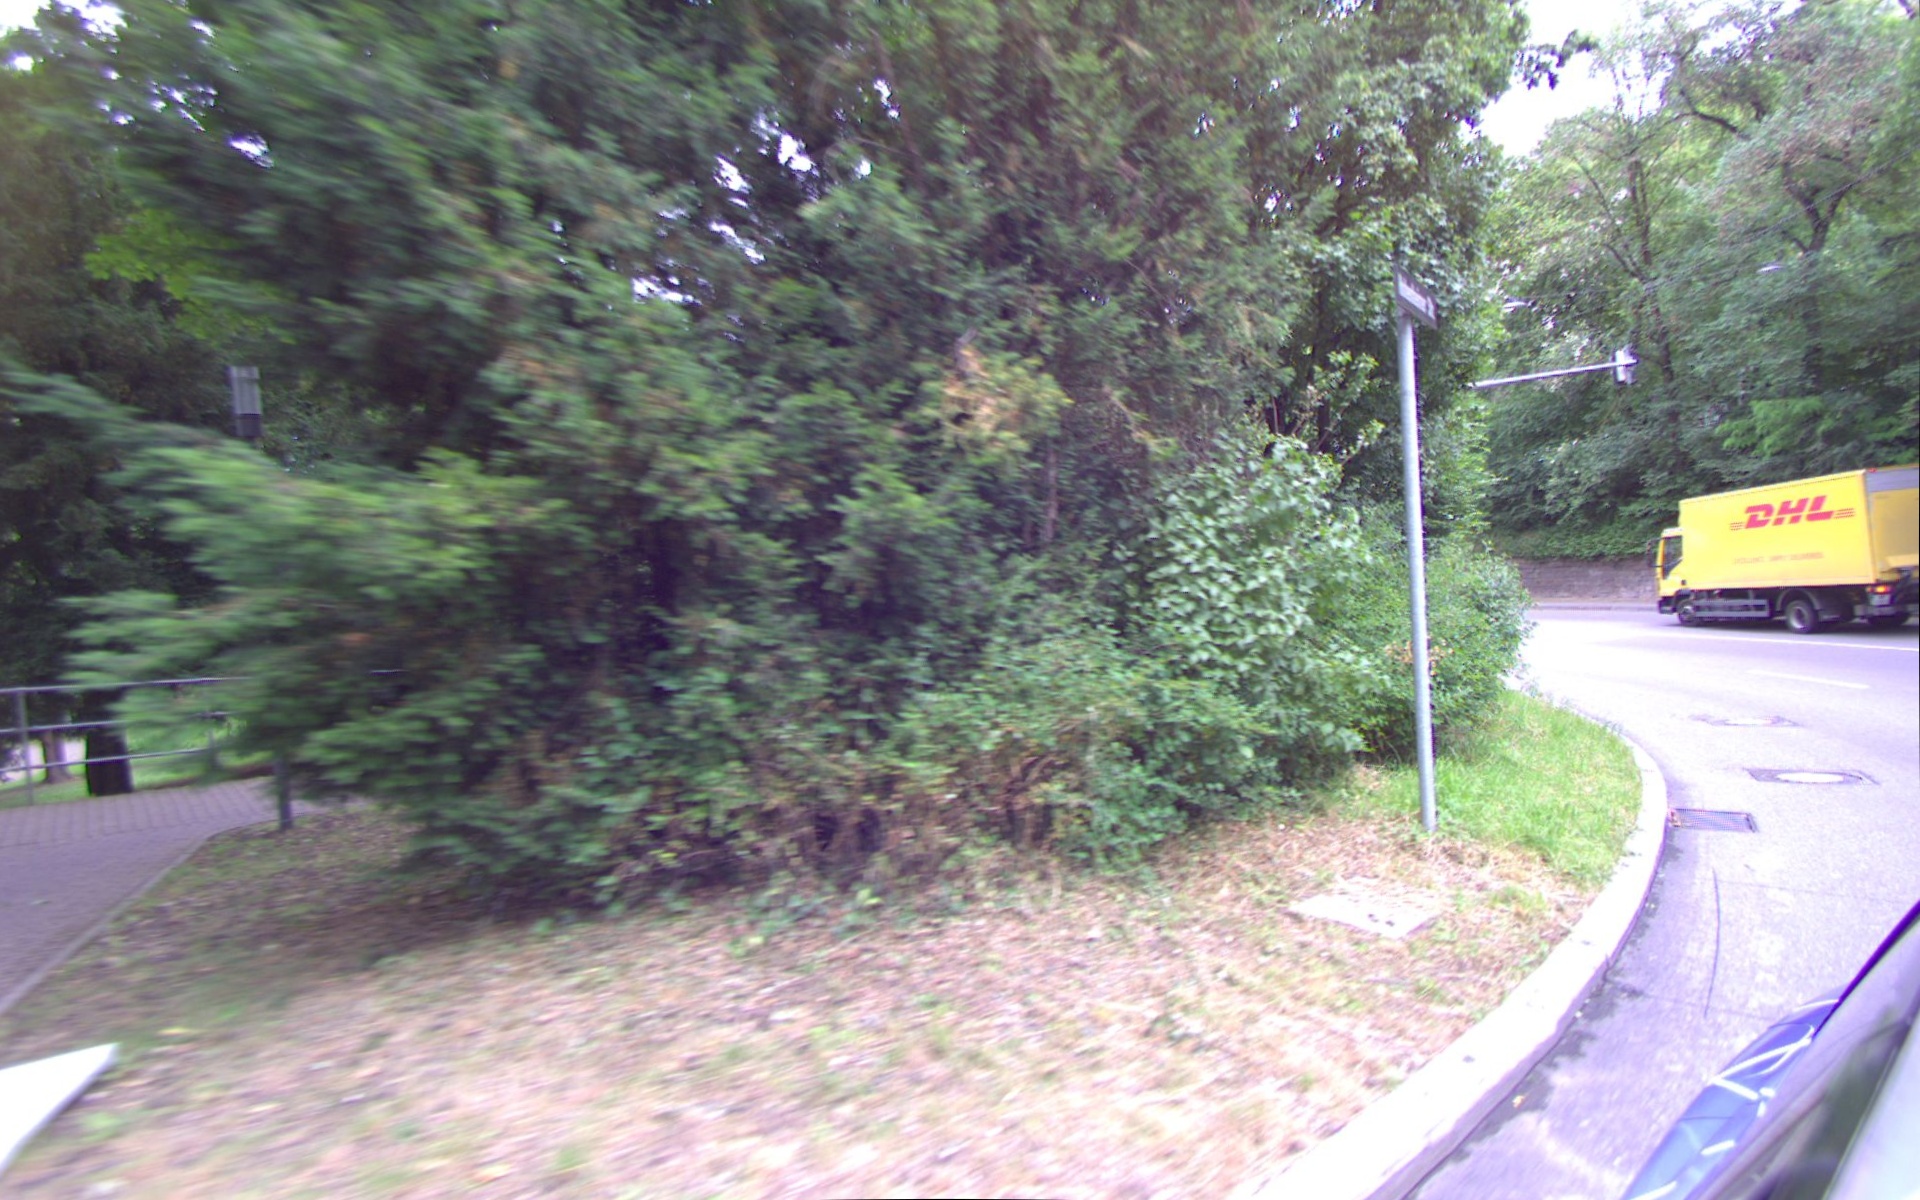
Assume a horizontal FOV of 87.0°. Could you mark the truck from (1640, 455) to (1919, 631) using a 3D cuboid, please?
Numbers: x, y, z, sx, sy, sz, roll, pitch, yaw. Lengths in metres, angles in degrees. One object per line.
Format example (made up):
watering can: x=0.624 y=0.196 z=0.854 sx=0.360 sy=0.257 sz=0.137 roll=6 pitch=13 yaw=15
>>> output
truck: x=19.401 y=-1.186 z=23.207 sx=2.709 sy=3.341 sz=7.575 roll=-3 pitch=0 yaw=4
